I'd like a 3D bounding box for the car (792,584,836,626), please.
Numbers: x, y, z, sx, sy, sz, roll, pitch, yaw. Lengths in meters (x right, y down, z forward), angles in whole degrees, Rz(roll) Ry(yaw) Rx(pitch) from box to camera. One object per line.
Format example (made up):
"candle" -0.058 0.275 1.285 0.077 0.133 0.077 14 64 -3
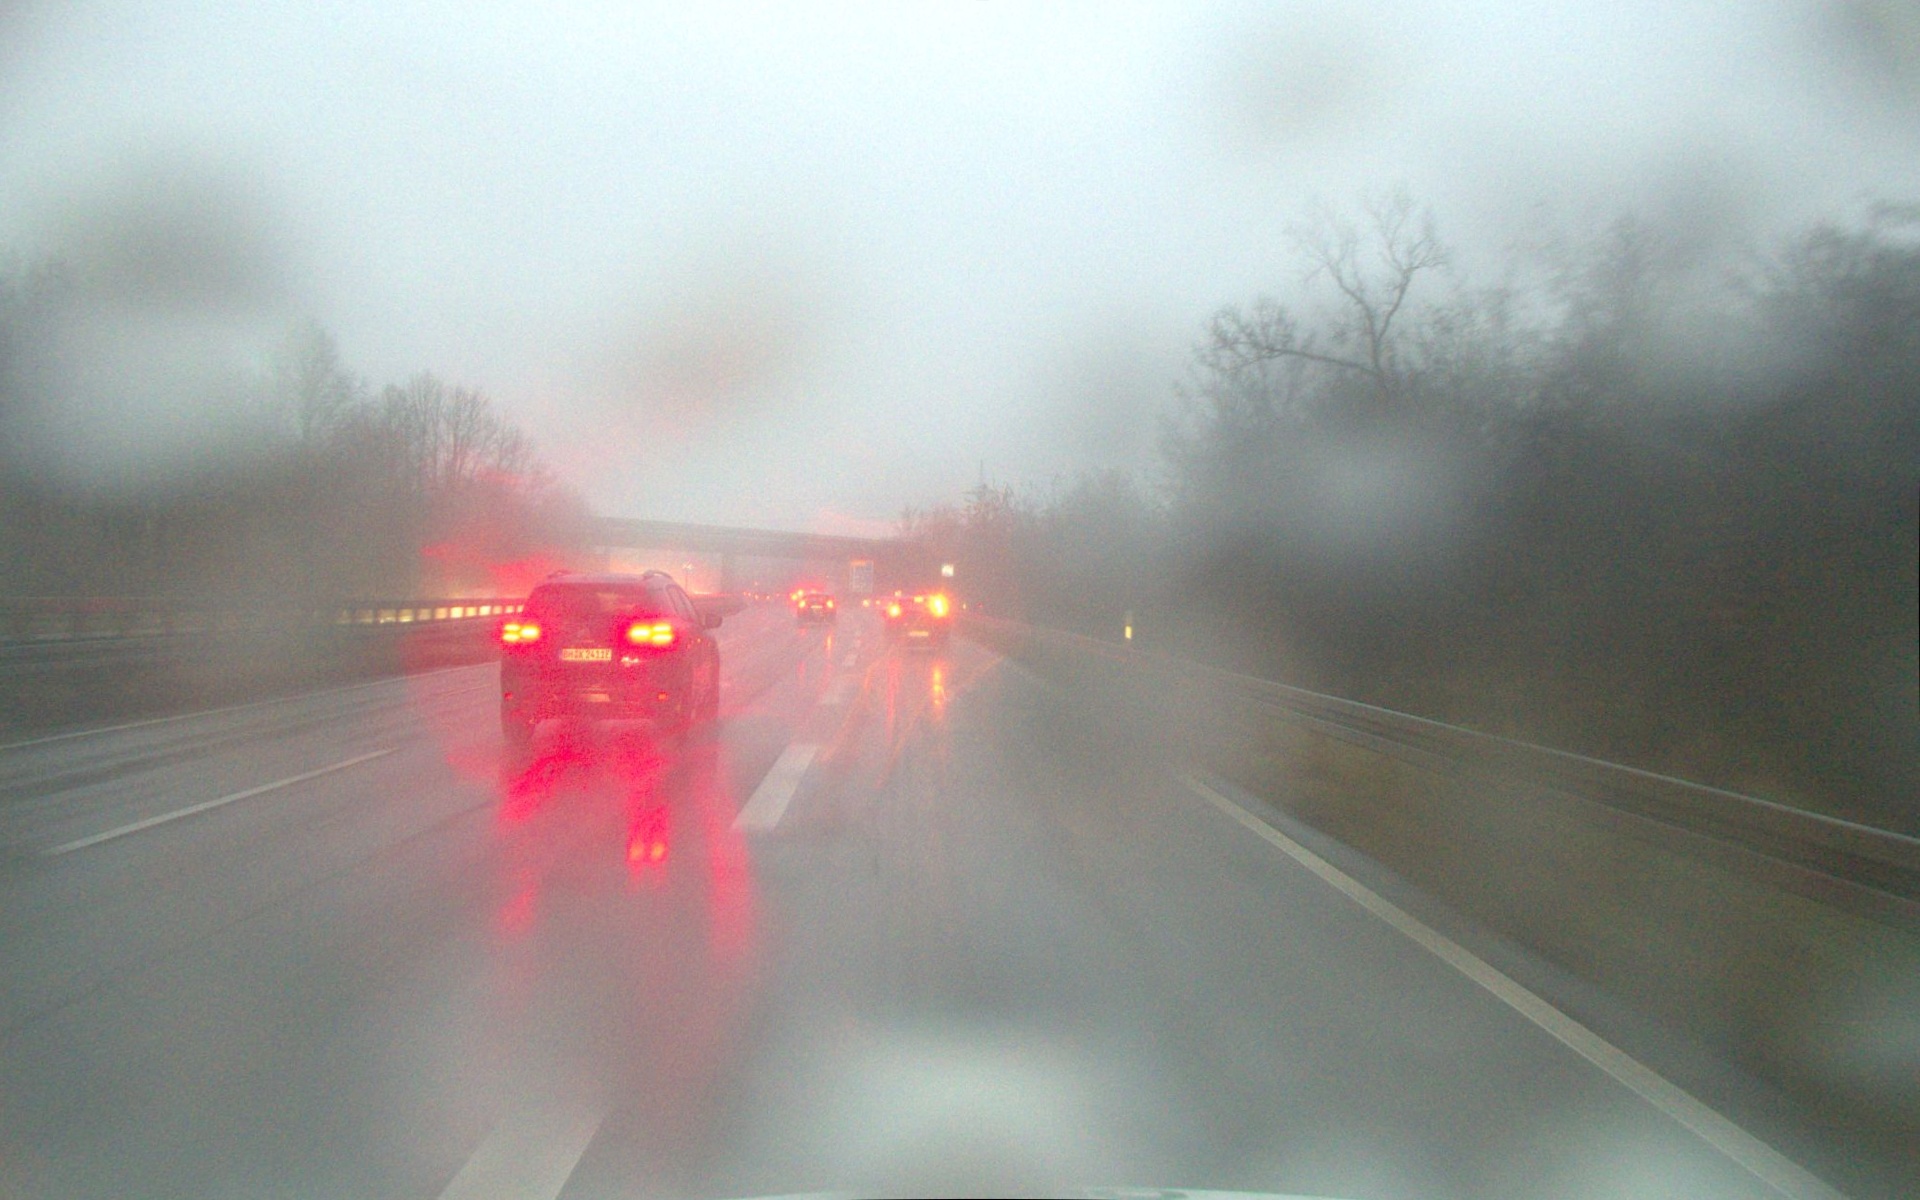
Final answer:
"car" -6.437 0.184 73.276 1.842 1.645 3.871 2 2 -5

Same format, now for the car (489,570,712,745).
"car" -3.790 0.550 18.107 1.955 1.694 3.995 0 0 -6

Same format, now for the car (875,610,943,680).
"car" -1.326 1.155 43.892 1.697 1.453 3.766 1 4 -1
